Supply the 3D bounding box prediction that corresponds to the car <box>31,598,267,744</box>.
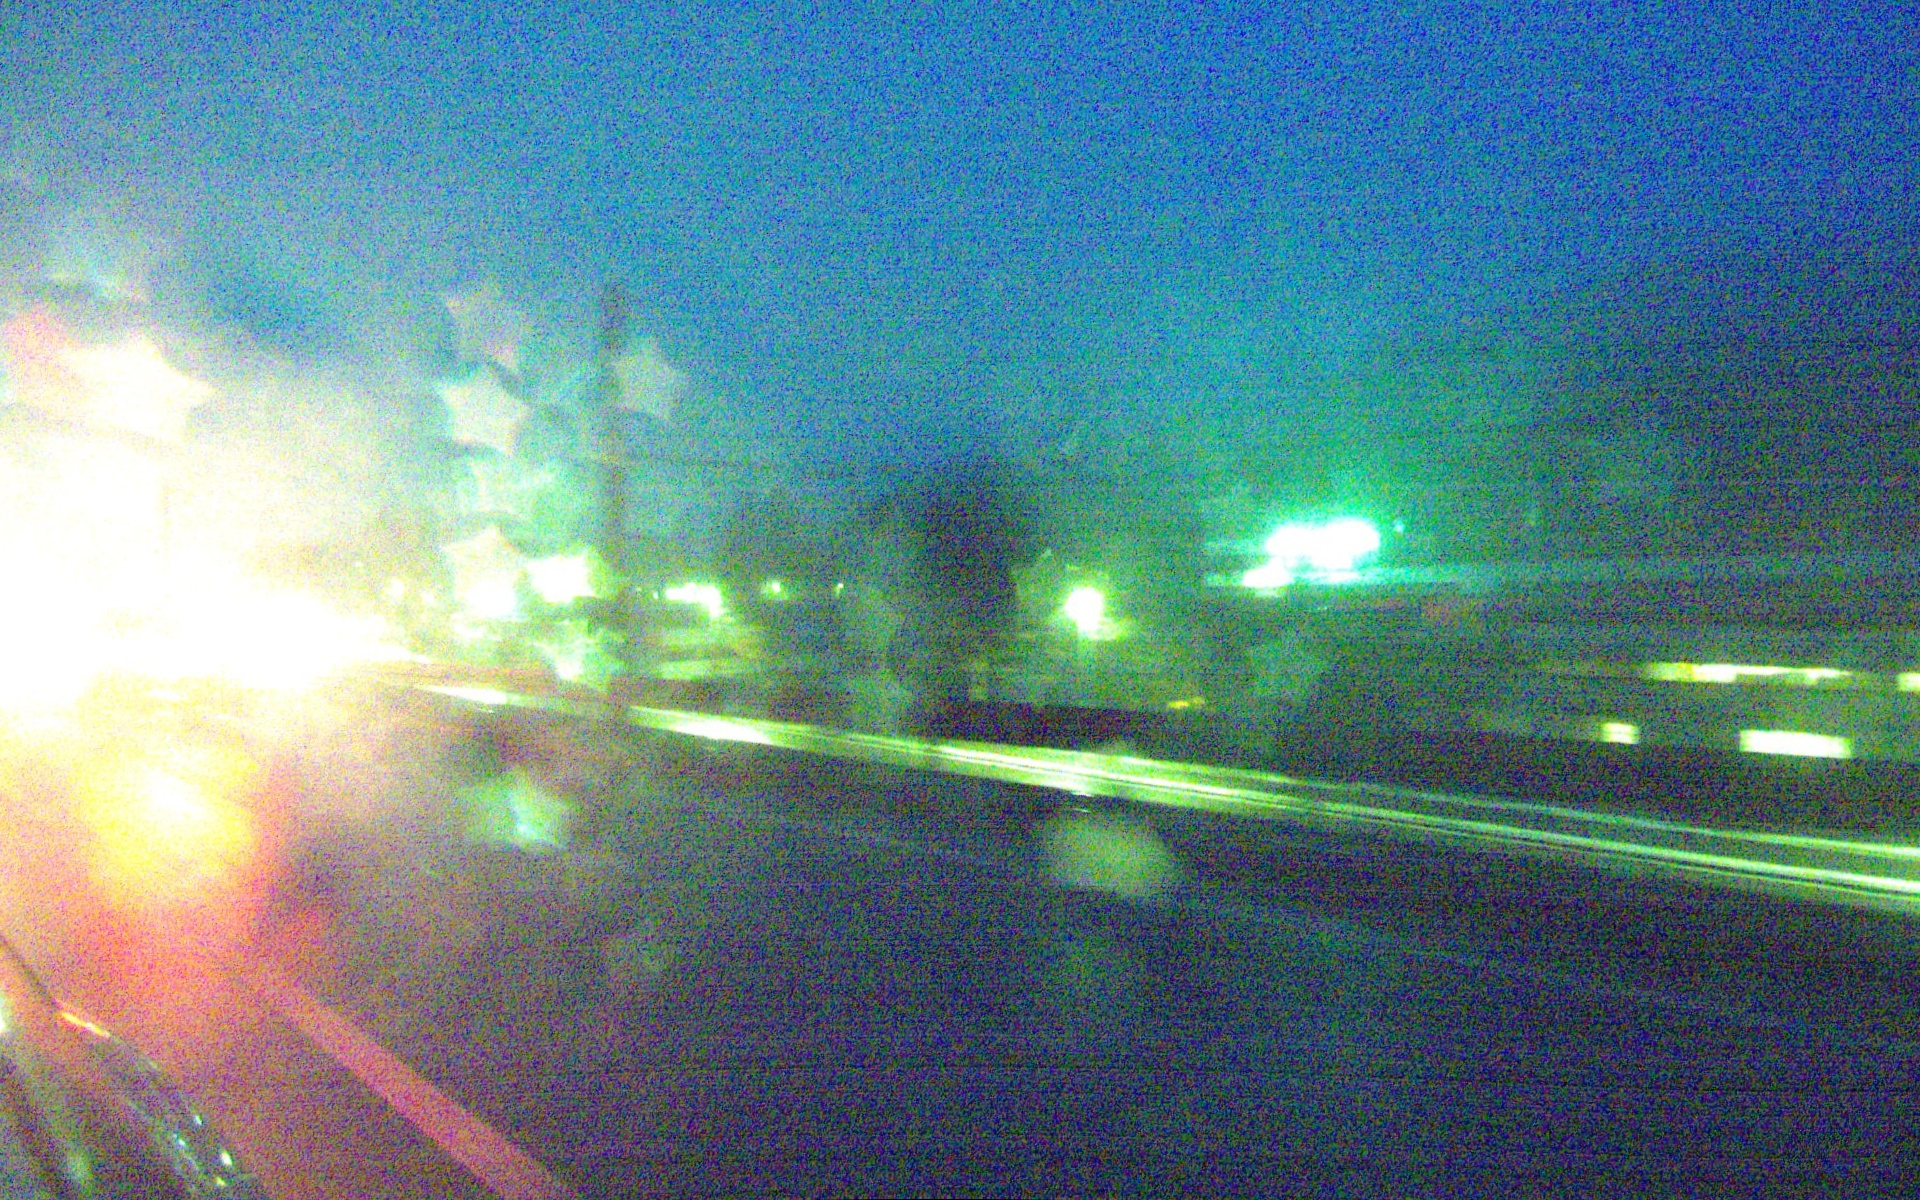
[{"bbox_3d":[-11.365,0.895,14.093,3.998,1.716,1.906,-2,-1,41],"label":"car"}]
